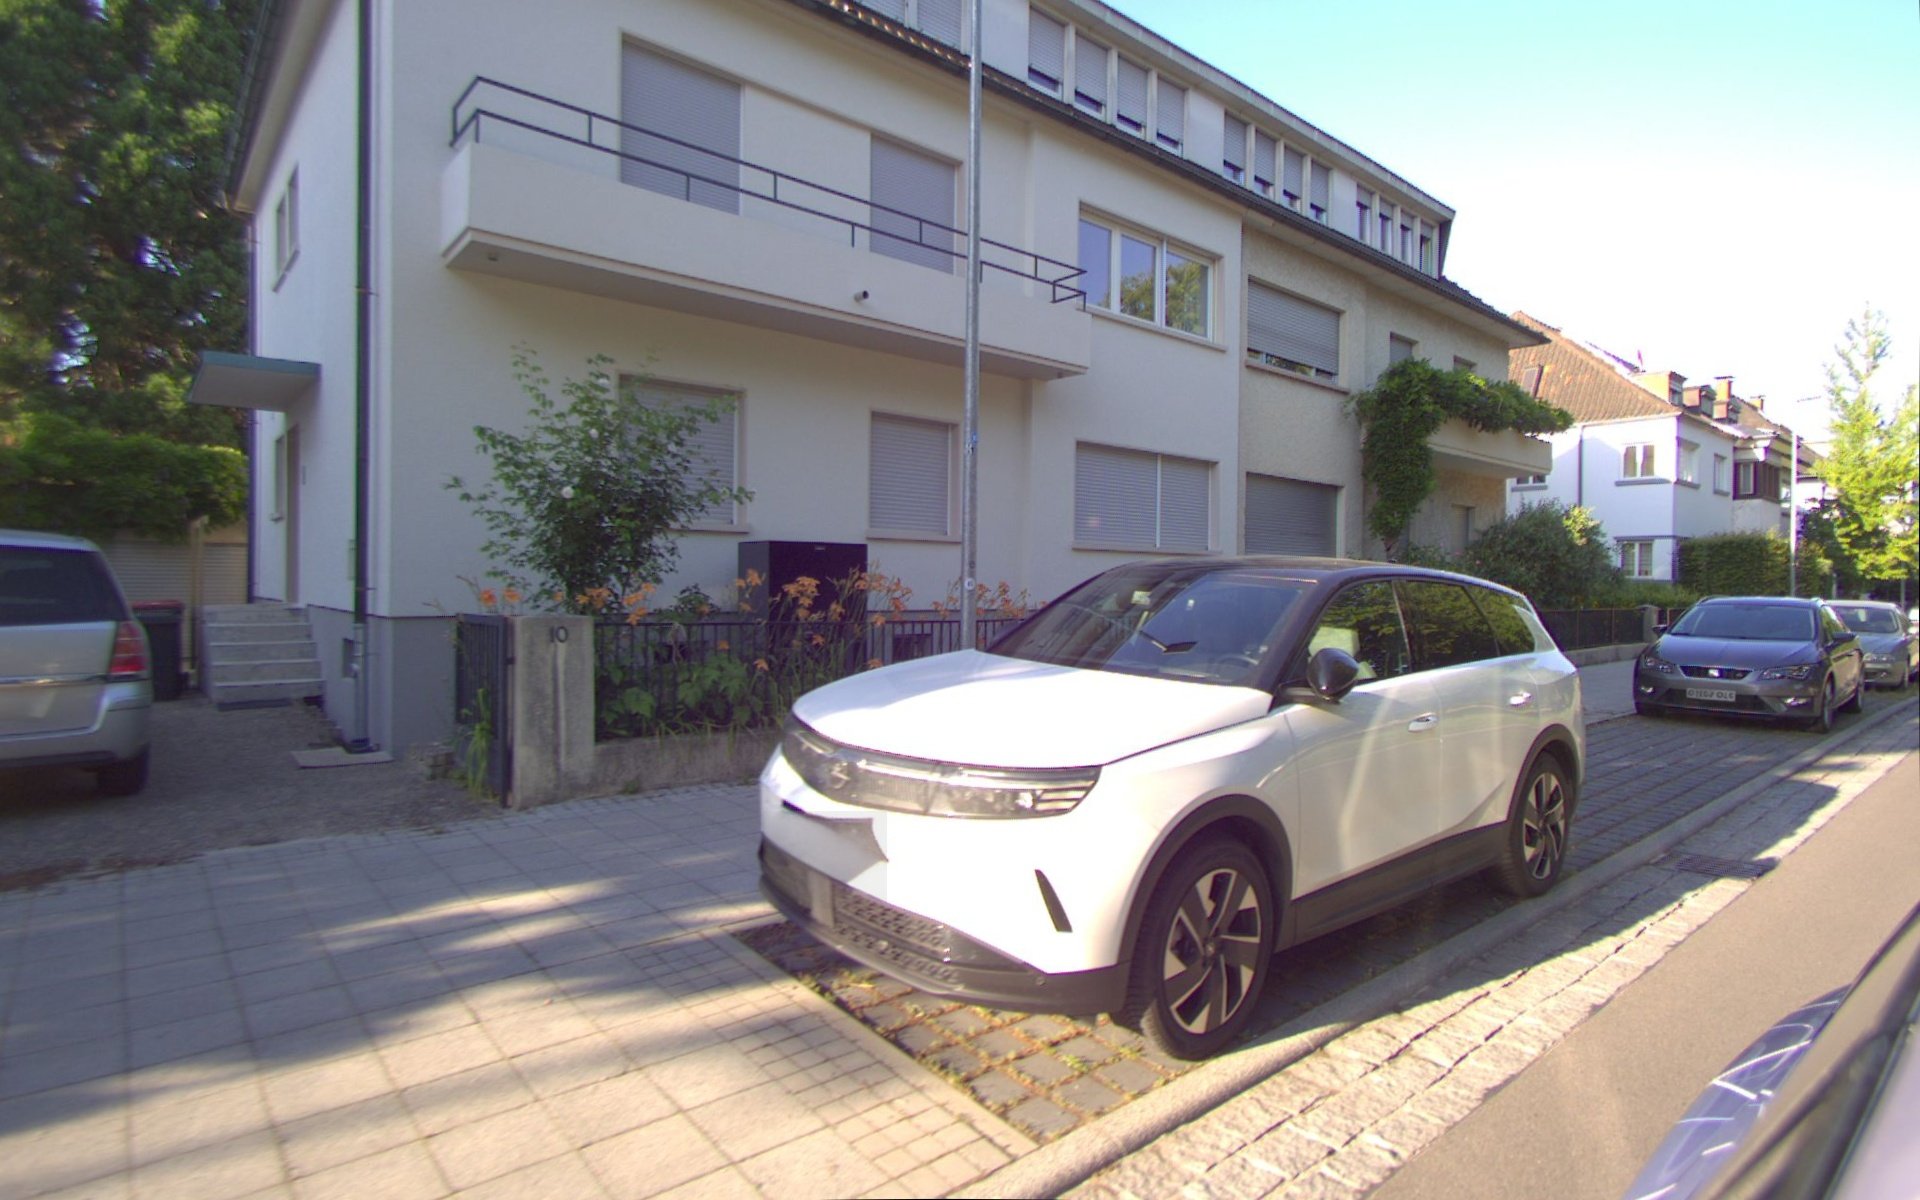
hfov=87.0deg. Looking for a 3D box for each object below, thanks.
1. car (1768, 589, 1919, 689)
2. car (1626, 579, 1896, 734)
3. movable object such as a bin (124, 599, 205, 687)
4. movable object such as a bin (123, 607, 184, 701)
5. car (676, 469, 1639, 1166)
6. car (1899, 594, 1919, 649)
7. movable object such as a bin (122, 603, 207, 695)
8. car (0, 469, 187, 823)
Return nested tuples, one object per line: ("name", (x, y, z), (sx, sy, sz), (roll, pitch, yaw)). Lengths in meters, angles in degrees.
("car", (15.136, 0.556, 16.939), (4.007, 1.397, 1.797), (-1, 3, -41))
("car", (9.758, 0.531, 12.224), (4.121, 1.512, 1.797), (-1, 3, -41))
("movable object such as a bin", (-9.278, 0.480, 11.803), (0.720, 0.971, 0.652), (-1, 0, -40))
("movable object such as a bin", (-8.513, 0.554, 10.682), (0.498, 0.957, 0.508), (0, -1, -40))
("car", (1.228, 0.496, 4.672), (4.493, 1.729, 1.910), (0, 2, -39))
("car", (25.427, 0.545, 25.870), (3.813, 1.273, 1.701), (-2, 2, -41))
("movable object such as a bin", (-8.852, 0.523, 11.264), (0.720, 0.971, 0.652), (-1, 0, -40))
("car", (-6.566, 0.272, 6.661), (3.983, 1.869, 1.786), (-1, -2, 44))
